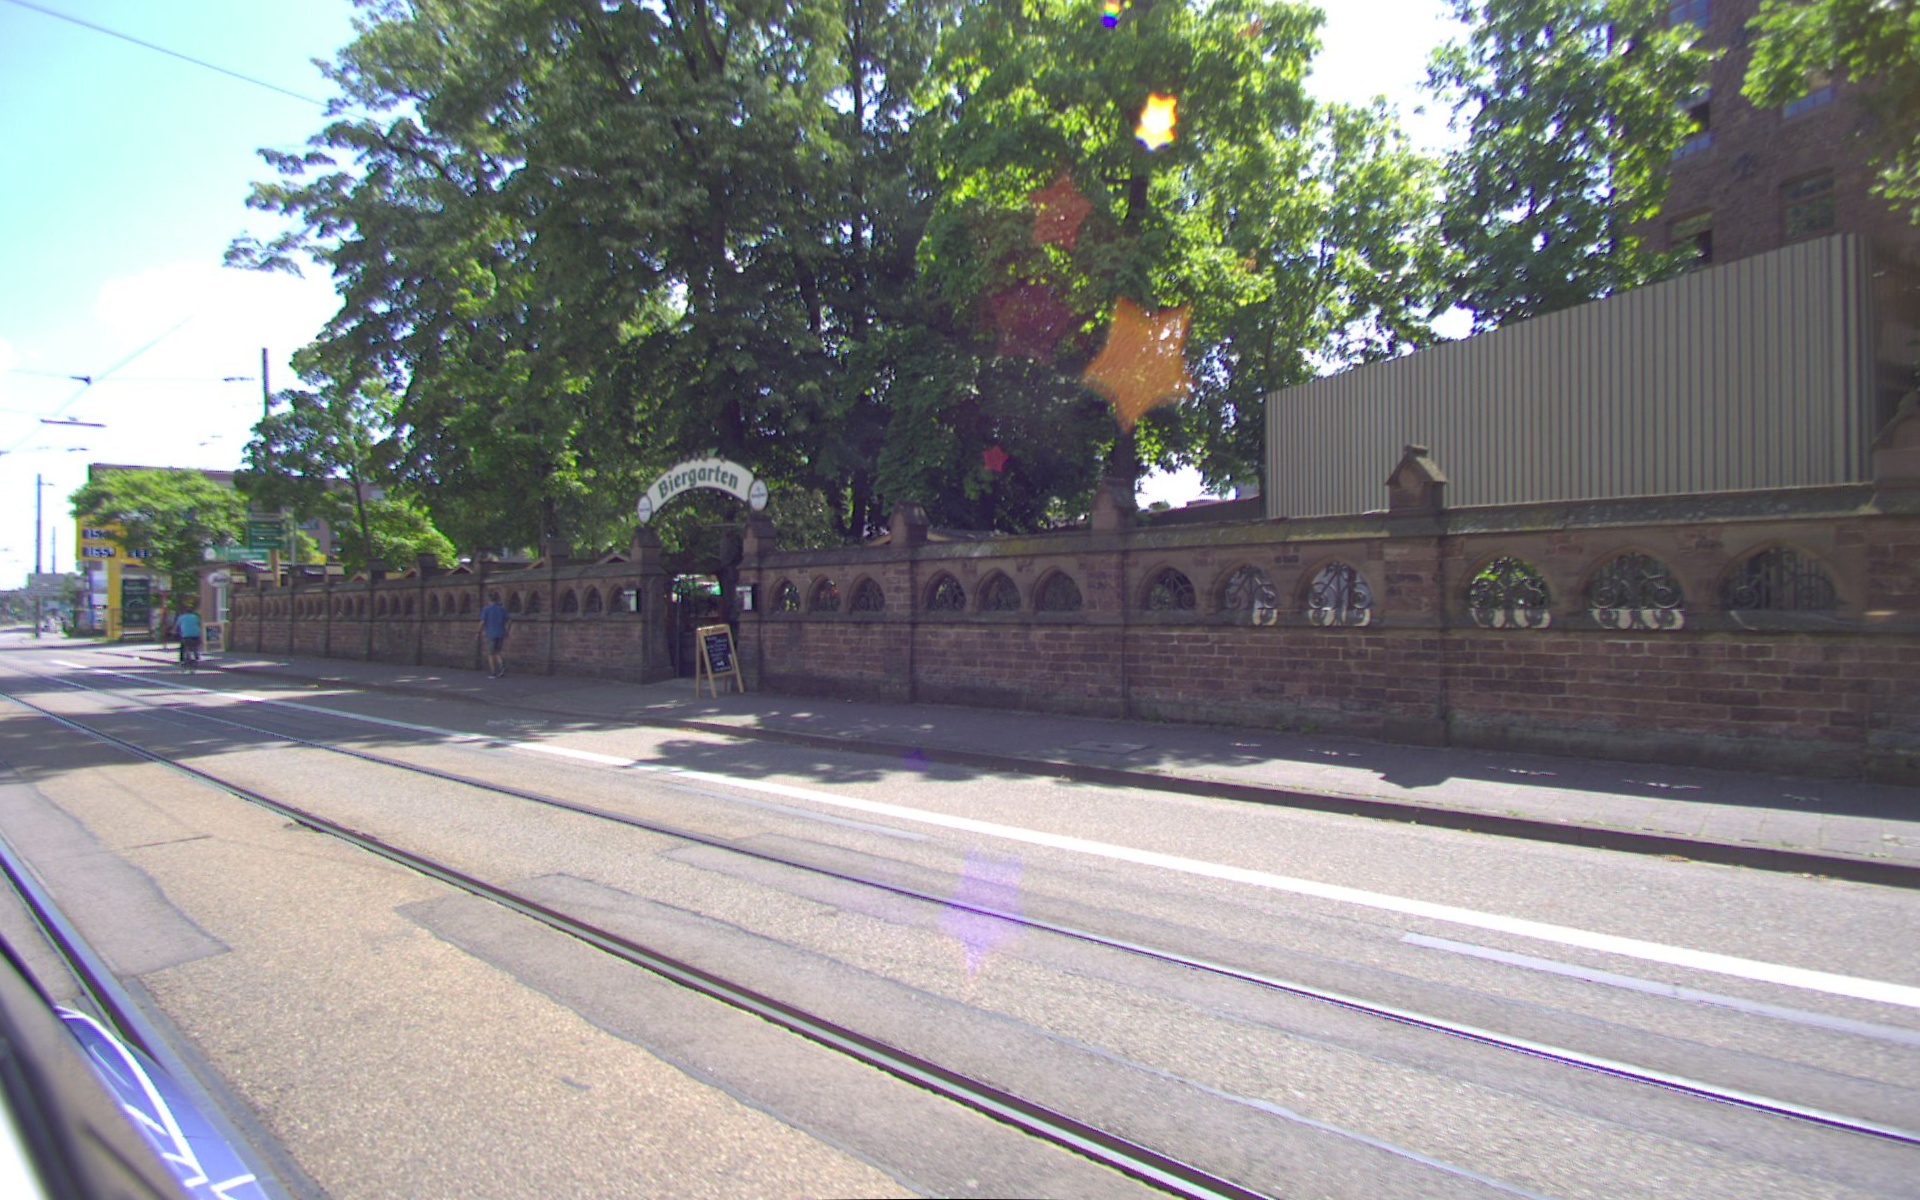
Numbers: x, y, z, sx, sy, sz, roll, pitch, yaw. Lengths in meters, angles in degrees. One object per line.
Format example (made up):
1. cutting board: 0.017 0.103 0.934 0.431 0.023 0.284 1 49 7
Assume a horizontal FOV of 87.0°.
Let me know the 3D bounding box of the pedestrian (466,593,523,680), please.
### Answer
1. pedestrian: -9.870 0.763 21.453 0.919 1.761 0.741 -1 1 41

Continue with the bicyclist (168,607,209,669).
1. bicyclist: -20.826 1.015 27.320 0.919 1.637 0.656 -1 -3 41

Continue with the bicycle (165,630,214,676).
1. bicycle: -20.750 1.411 27.232 1.895 1.172 0.652 -1 -3 41
